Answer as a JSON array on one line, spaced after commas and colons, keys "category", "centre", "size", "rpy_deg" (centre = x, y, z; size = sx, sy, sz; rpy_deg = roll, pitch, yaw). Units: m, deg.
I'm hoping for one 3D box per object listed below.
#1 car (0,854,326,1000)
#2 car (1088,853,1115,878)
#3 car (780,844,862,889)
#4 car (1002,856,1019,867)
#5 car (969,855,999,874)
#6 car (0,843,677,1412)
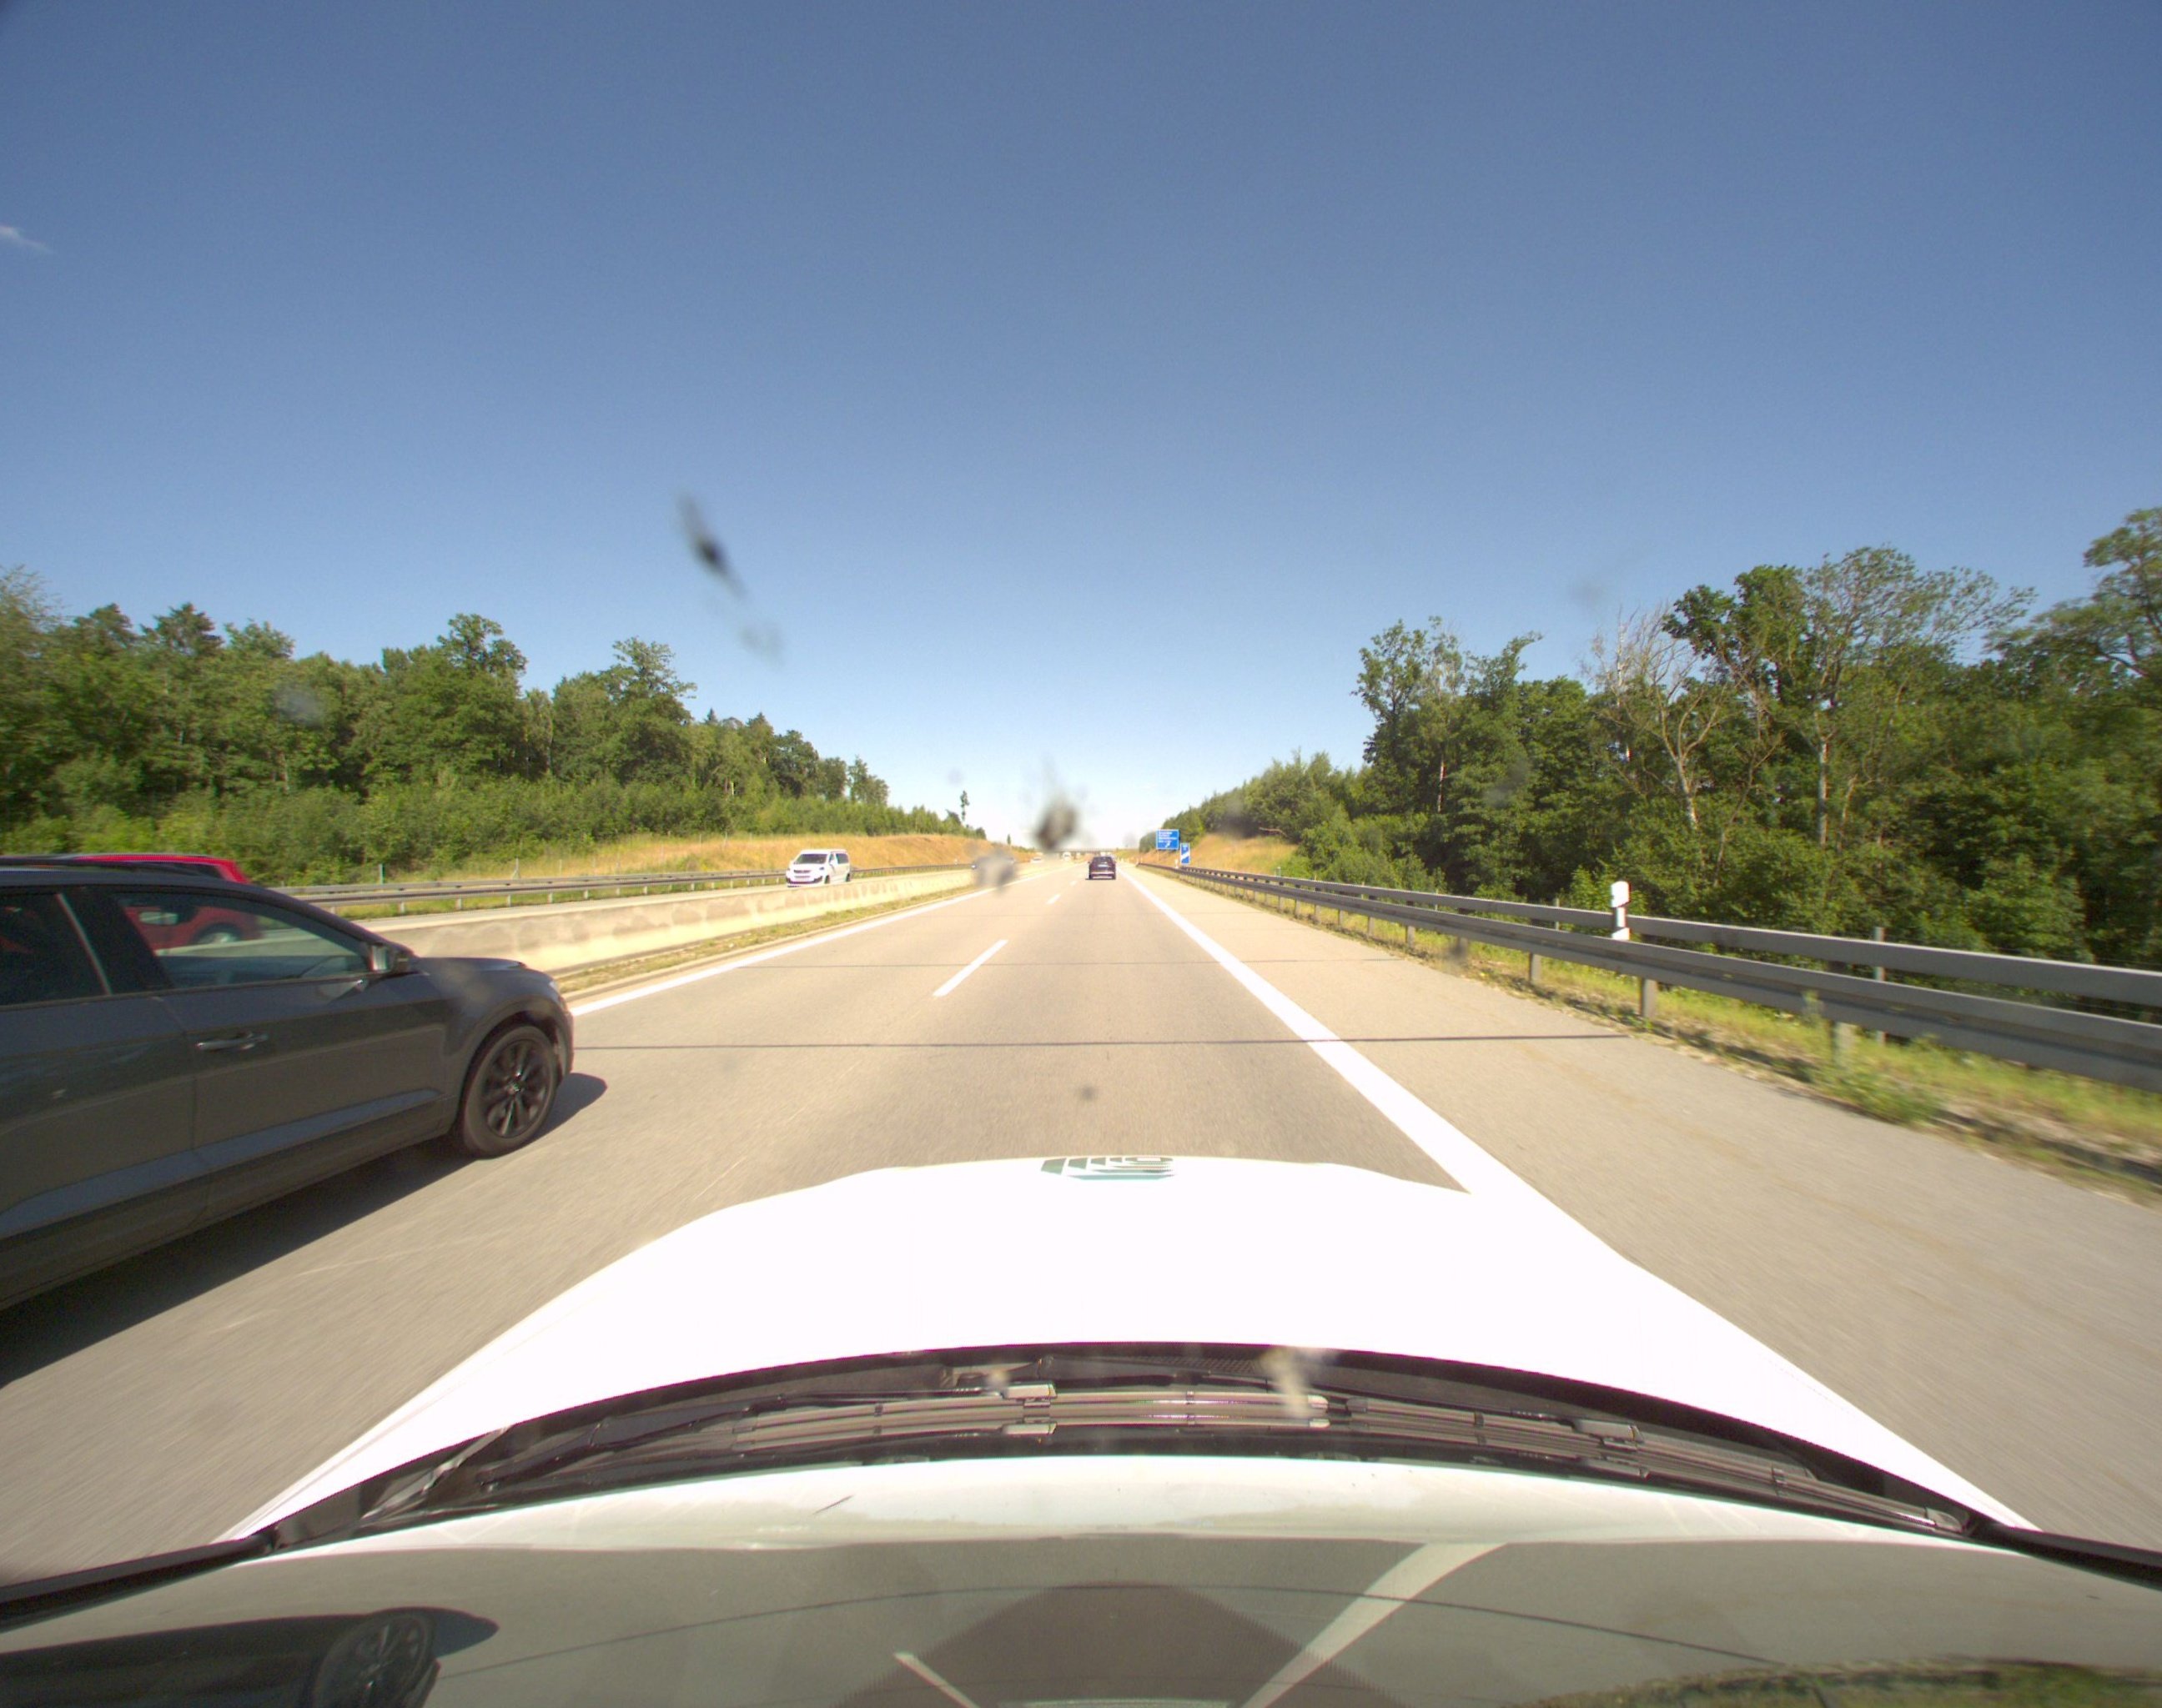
[{"category": "car", "centre": [-12.917, 0.828, 10.502], "size": [1.660, 1.644, 4.891], "rpy_deg": [-1, 0, 2]}, {"category": "car", "centre": [1.447, 0.766, 55.614], "size": [1.715, 1.587, 5.224], "rpy_deg": [-1, 0, 2]}, {"category": "car", "centre": [-13.116, 0.601, 41.587], "size": [1.986, 2.083, 6.230], "rpy_deg": [-1, 0, 2]}, {"category": "car", "centre": [-10.754, 1.120, 124.924], "size": [1.986, 1.581, 4.651], "rpy_deg": [-1, 0, 2]}, {"category": "car", "centre": [-8.557, 0.890, 72.213], "size": [1.986, 1.581, 4.651], "rpy_deg": [-1, 0, 2]}, {"category": "car", "centre": [-3.847, 0.764, 3.363], "size": [1.766, 1.569, 4.989], "rpy_deg": [-1, 0, 1]}]
